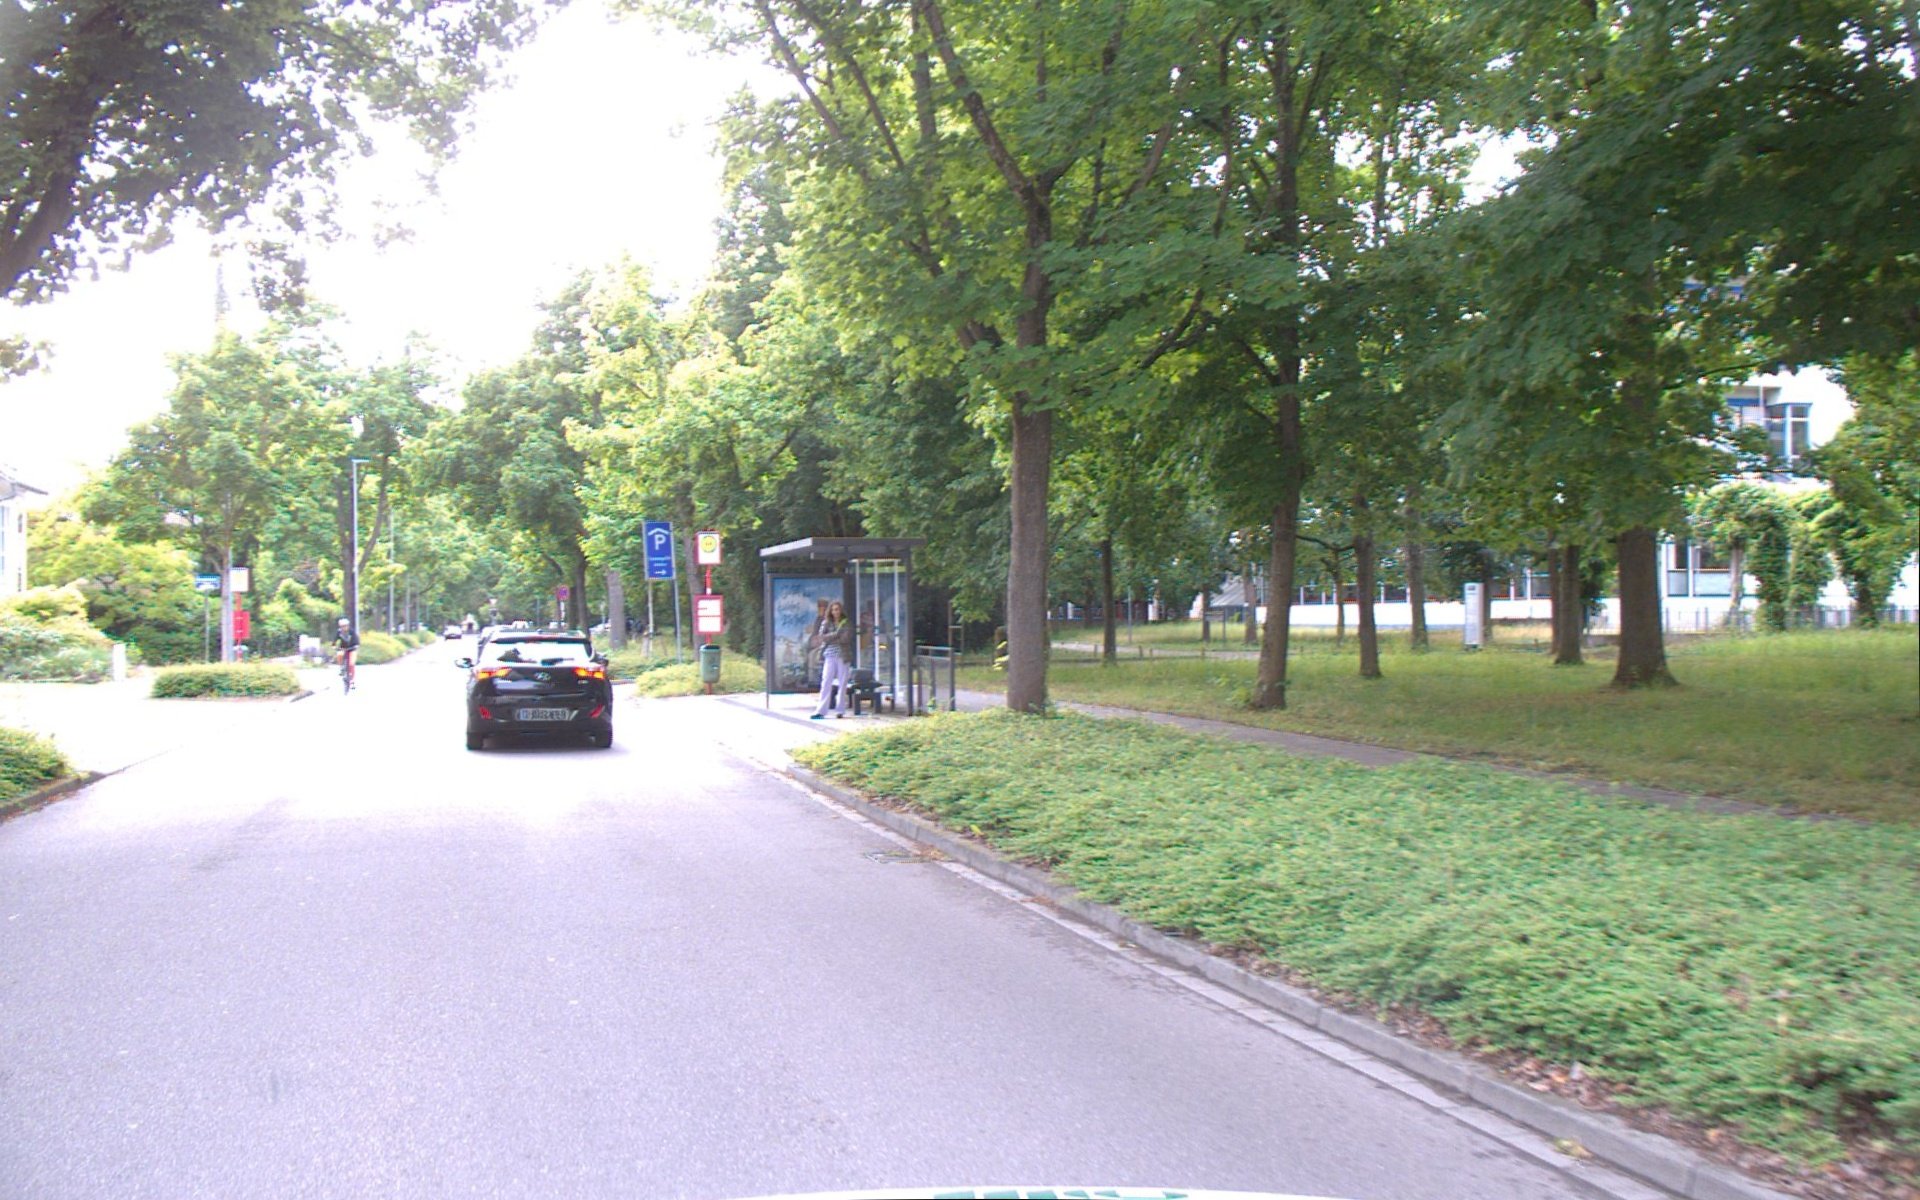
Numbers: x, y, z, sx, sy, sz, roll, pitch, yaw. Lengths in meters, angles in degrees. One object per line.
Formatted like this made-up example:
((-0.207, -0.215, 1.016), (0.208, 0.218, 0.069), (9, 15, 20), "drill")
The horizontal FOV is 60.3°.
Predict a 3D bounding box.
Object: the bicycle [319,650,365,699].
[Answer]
((-14.625, 1.745, 39.191), (0.781, 1.043, 2.553), (-1, 0, -16), "bicycle")

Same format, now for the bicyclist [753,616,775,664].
((-6.024, 1.218, 50.836), (0.586, 1.434, 0.756), (-2, -1, -10), "bicyclist")

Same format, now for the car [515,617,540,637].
((-45.741, 2.830, 174.788), (1.967, 2.049, 3.970), (-1, 0, -24), "car")

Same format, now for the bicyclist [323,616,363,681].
((-14.665, 1.141, 39.307), (0.771, 1.495, 0.933), (-1, -1, -16), "bicyclist")

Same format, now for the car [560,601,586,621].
((-41.390, 1.204, 176.937), (1.967, 2.049, 3.970), (-2, 0, -24), "car")

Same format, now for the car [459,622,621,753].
((-5.470, 1.042, 21.257), (1.817, 1.488, 3.808), (0, 0, -17), "car")

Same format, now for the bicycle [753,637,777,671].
((-5.980, 1.635, 50.654), (0.596, 0.992, 1.939), (-2, 0, -10), "bicycle")

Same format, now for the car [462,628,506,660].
((-23.110, 2.119, 80.230), (1.837, 1.488, 4.093), (-1, -1, -19), "car")

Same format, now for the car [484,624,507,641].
((-43.516, 3.068, 154.874), (1.962, 1.512, 3.981), (-2, 0, -17), "car")

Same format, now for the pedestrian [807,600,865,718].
((-1.750, 0.820, 23.318), (0.643, 1.611, 0.695), (-1, -1, -17), "pedestrian")

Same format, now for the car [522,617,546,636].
((-46.913, 2.927, 182.109), (1.967, 2.049, 3.971), (-1, 0, -23), "car")

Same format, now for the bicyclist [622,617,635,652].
((-15.281, 1.574, 76.340), (0.525, 1.576, 0.756), (-2, -1, -10), "bicyclist")

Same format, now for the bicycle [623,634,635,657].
((-15.270, 2.083, 76.378), (0.482, 0.992, 1.939), (-2, 0, -10), "bicycle")
